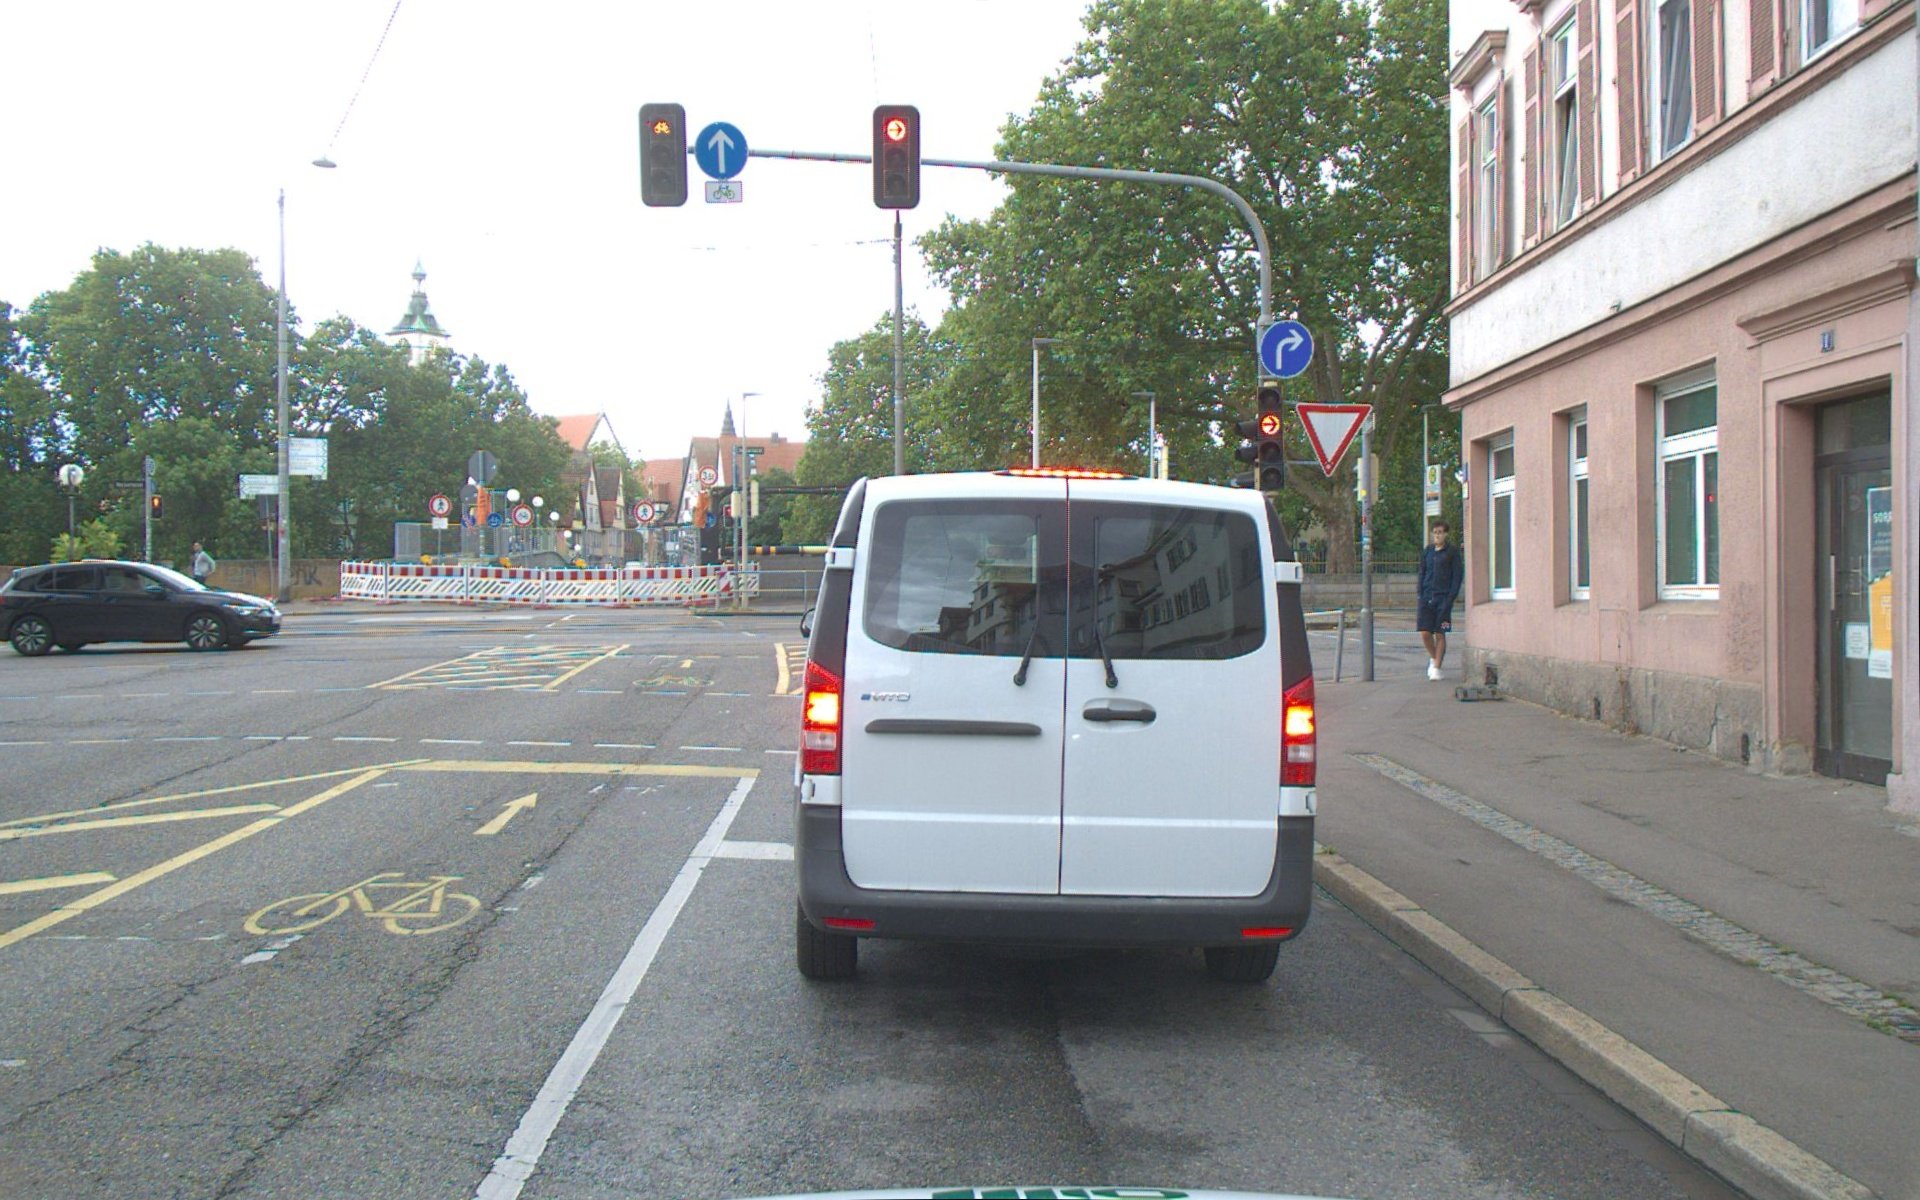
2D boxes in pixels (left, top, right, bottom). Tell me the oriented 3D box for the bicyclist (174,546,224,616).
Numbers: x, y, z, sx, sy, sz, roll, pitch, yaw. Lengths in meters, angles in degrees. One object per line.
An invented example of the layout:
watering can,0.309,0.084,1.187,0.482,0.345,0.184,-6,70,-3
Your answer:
bicyclist,-19.623,-0.490,42.647,0.996,1.774,0.743,-1,2,-42

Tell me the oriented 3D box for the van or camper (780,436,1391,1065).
van or camper,0.260,0.407,7.421,1.899,1.958,4.438,1,2,-4

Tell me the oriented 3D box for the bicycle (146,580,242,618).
bicycle,-19.716,-0.038,42.586,2.120,0.907,0.749,-1,2,-42

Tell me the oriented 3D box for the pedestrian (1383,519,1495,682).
pedestrian,5.768,-0.012,19.898,1.138,1.888,0.672,-2,1,-30

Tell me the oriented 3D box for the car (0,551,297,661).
car,-13.245,0.058,26.869,4.193,1.602,1.868,-2,2,-9
